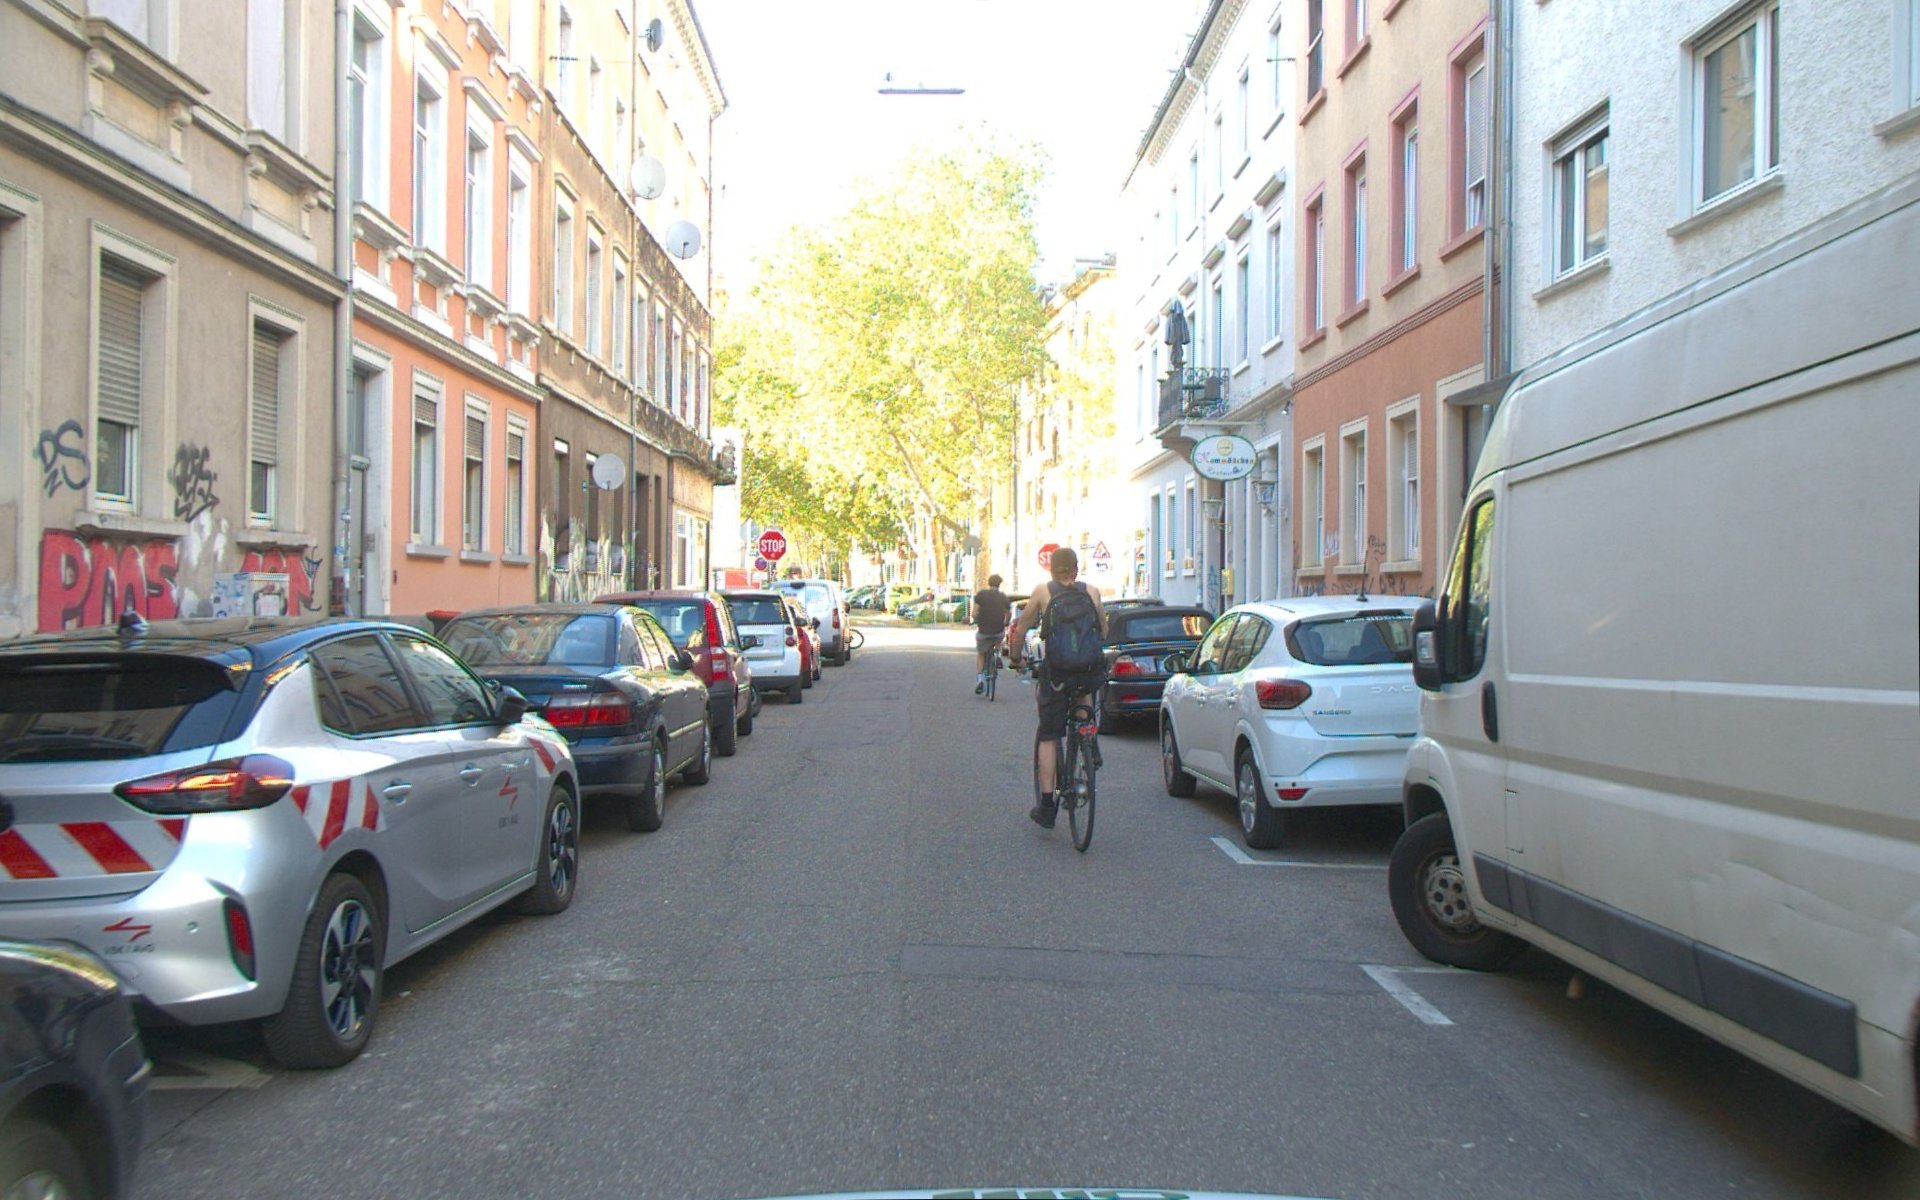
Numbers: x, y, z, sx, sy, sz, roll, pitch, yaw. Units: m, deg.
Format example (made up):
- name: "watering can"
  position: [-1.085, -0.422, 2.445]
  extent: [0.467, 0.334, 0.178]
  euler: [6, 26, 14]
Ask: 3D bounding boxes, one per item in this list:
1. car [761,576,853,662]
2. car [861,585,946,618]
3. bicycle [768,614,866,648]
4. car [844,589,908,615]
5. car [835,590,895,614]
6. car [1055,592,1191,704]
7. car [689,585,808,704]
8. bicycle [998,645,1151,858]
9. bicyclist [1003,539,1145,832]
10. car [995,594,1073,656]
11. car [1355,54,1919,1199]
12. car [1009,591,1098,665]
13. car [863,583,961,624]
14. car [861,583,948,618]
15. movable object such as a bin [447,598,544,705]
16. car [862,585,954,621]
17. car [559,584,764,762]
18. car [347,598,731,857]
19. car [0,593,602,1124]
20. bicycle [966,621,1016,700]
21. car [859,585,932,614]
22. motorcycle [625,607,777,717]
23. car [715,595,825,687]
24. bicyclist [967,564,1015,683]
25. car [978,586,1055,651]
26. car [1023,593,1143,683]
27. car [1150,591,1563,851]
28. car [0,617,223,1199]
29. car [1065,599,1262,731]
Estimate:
- name: "car"
  position: [-3.290, 0.378, 36.085]
  extent: [1.752, 1.767, 3.874]
  euler: [0, 0, -2]
- name: "car"
  position: [-3.000, 0.071, 87.242]
  extent: [4.383, 1.725, 1.864]
  euler: [0, 0, -6]
- name: "bicycle"
  position: [-3.924, 0.841, 45.603]
  extent: [2.662, 0.907, 0.618]
  euler: [0, 0, -4]
- name: "car"
  position: [-5.913, 0.134, 116.092]
  extent: [4.383, 1.725, 1.864]
  euler: [0, 0, -6]
- name: "car"
  position: [-7.080, 0.145, 123.110]
  extent: [4.383, 1.725, 1.864]
  euler: [0, 0, -6]
- name: "car"
  position: [2.321, 0.641, 24.417]
  extent: [1.560, 1.518, 3.875]
  euler: [0, 0, -1]
- name: "car"
  position: [-2.990, 0.583, 23.890]
  extent: [1.514, 1.578, 3.462]
  euler: [0, 0, -4]
- name: "bicycle"
  position: [0.674, 0.889, 10.386]
  extent: [0.725, 1.120, 2.041]
  euler: [2, 0, -2]
- name: "bicyclist"
  position: [0.685, 0.501, 10.312]
  extent: [0.725, 1.708, 1.116]
  euler: [2, 0, -2]
- name: "car"
  position: [1.865, 0.608, 42.546]
  extent: [1.653, 1.497, 3.572]
  euler: [0, 0, -3]
- name: "car"
  position: [3.009, 0.198, 5.175]
  extent: [2.159, 2.595, 6.036]
  euler: [0, 0, 1]
- name: "car"
  position: [2.045, 0.584, 36.976]
  extent: [1.619, 1.557, 3.572]
  euler: [0, 0, -3]
- name: "car"
  position: [-2.205, 0.151, 75.727]
  extent: [4.383, 1.790, 1.864]
  euler: [0, 0, -6]
- name: "car"
  position: [-2.871, 0.024, 84.990]
  extent: [4.383, 1.725, 1.864]
  euler: [0, 0, -6]
- name: "movable object such as a bin"
  position: [-5.347, 0.586, 19.073]
  extent: [0.817, 1.146, 0.716]
  euler: [-5, 0, 1]
- name: "car"
  position: [-2.546, 0.144, 80.678]
  extent: [4.383, 1.725, 1.864]
  euler: [0, 0, -6]
- name: "car"
  position: [-2.874, 0.640, 16.516]
  extent: [1.573, 1.557, 3.377]
  euler: [-1, 0, -3]
- name: "car"
  position: [-2.692, 0.723, 11.561]
  extent: [1.671, 1.438, 4.301]
  euler: [0, 0, -1]
- name: "car"
  position: [-2.678, 0.705, 6.501]
  extent: [1.639, 1.455, 3.888]
  euler: [0, 0, 1]
- name: "bicycle"
  position: [0.436, 0.858, 23.991]
  extent: [0.650, 1.055, 1.958]
  euler: [0, 0, -1]
- name: "car"
  position: [-3.928, -0.050, 100.385]
  extent: [4.383, 1.725, 1.864]
  euler: [0, 0, -6]
- name: "motorcycle"
  position: [-3.157, 0.737, 20.133]
  extent: [1.766, 1.278, 0.707]
  euler: [0, 0, -16]
- name: "car"
  position: [-3.122, 0.631, 27.651]
  extent: [1.521, 1.424, 3.666]
  euler: [0, 0, -2]
- name: "bicyclist"
  position: [0.443, 0.324, 23.948]
  extent: [0.656, 1.687, 0.877]
  euler: [0, 0, -2]
- name: "car"
  position: [1.583, 0.502, 47.811]
  extent: [1.855, 1.800, 3.997]
  euler: [0, 0, -4]
- name: "car"
  position: [2.150, 0.631, 29.870]
  extent: [1.676, 1.496, 3.998]
  euler: [0, 0, -3]
- name: "car"
  position: [2.546, 0.688, 11.624]
  extent: [1.697, 1.496, 4.018]
  euler: [0, 0, -4]
- name: "car"
  position: [-2.359, 0.784, 1.739]
  extent: [1.559, 1.465, 3.653]
  euler: [0, 0, -1]
- name: "car"
  position: [2.275, 0.681, 19.435]
  extent: [1.624, 1.361, 3.998]
  euler: [0, 0, -3]
